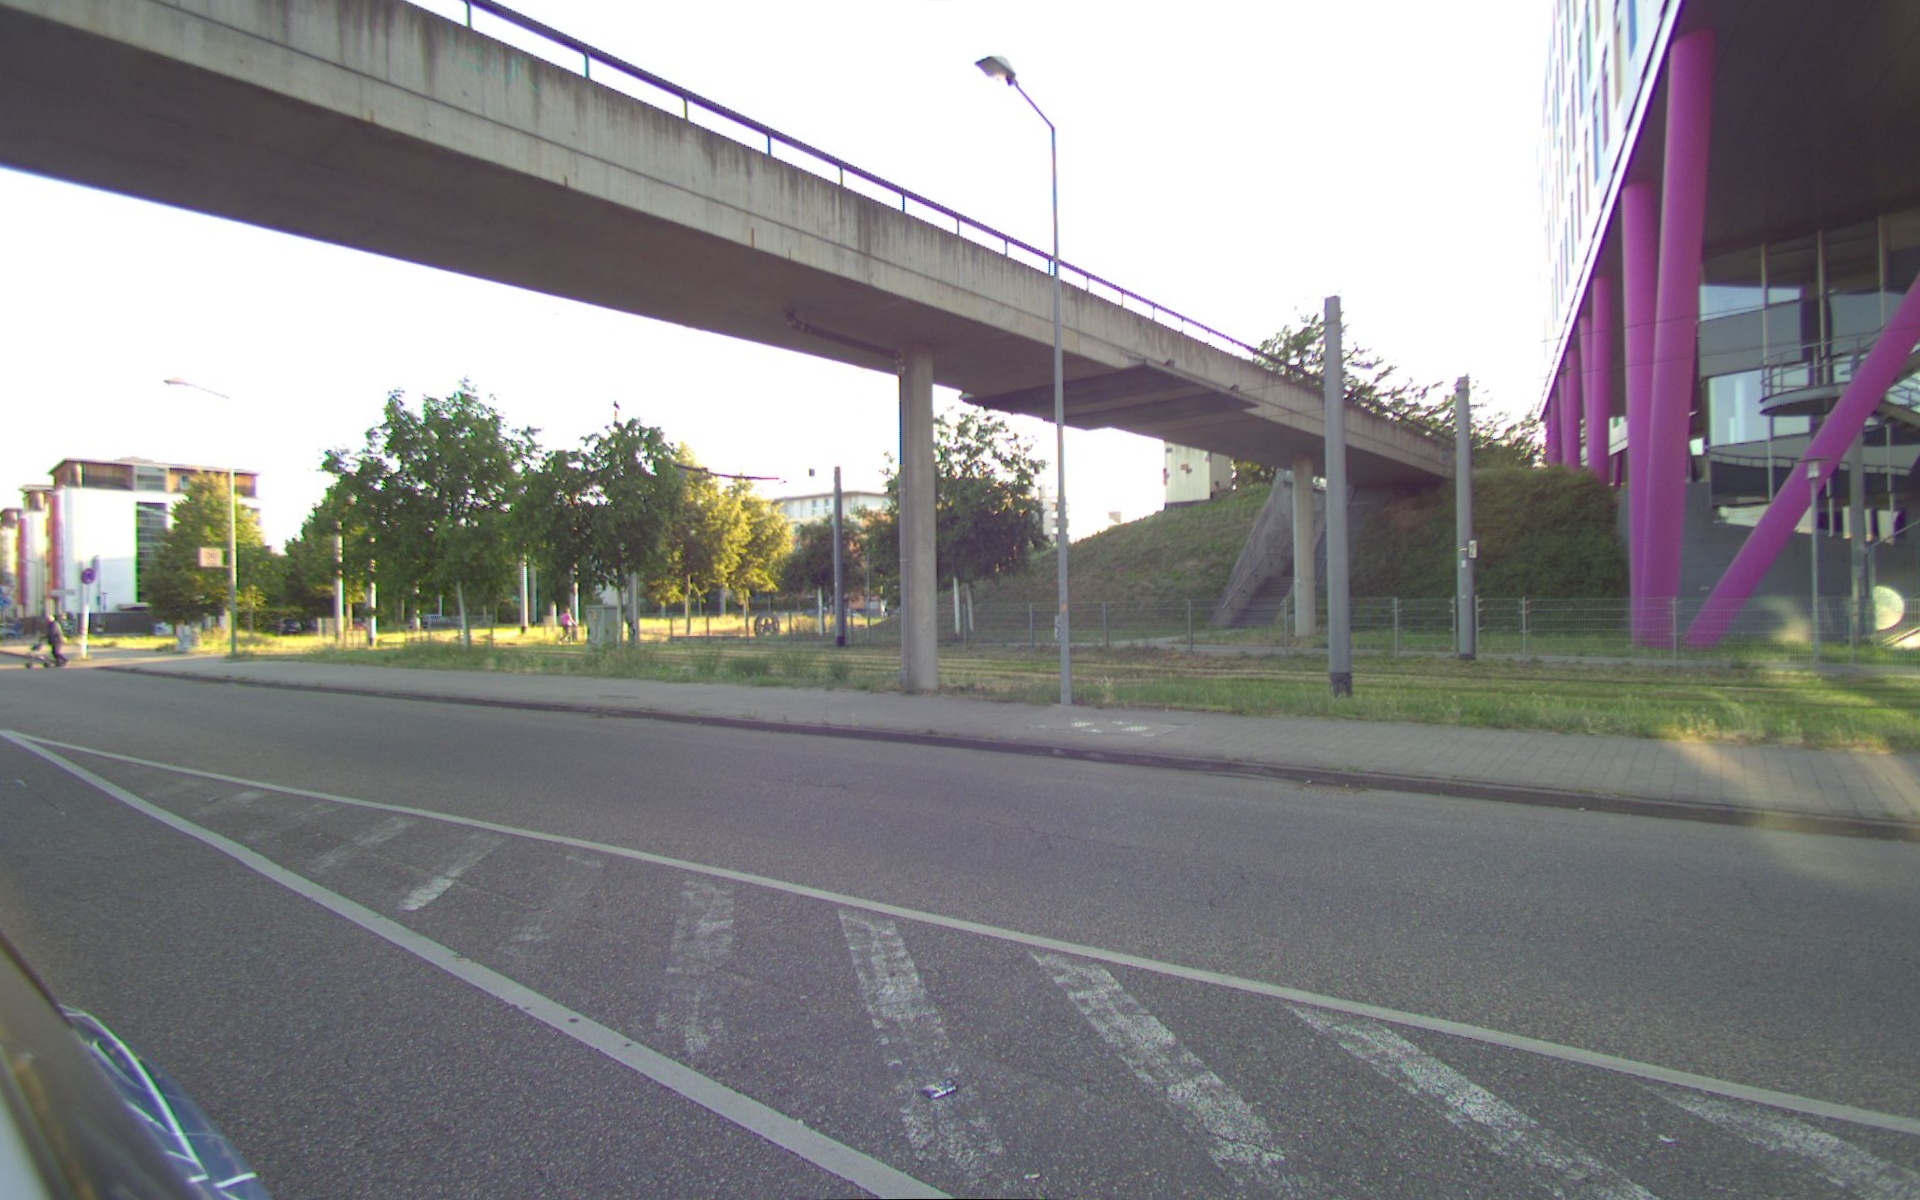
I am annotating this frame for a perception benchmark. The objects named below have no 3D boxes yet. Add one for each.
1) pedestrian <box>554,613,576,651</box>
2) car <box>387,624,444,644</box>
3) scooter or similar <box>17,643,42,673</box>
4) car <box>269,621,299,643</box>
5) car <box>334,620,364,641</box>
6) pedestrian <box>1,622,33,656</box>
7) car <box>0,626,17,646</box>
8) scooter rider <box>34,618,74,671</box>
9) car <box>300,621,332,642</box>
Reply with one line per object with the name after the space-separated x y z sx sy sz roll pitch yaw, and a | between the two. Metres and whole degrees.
-17.161 1.371 43.949 0.767 1.623 0.417 -1 -1 -38 | pedestrian
-45.883 2.877 85.329 3.935 1.575 2.004 -1 -1 -37 | car
-28.447 1.766 30.947 0.545 0.902 0.723 1 -1 -44 | scooter or similar
-57.204 2.696 85.581 1.842 1.734 3.853 -1 -1 -38 | car
-53.646 2.644 88.845 1.842 1.734 3.853 -1 -1 -38 | car
-58.165 2.399 62.434 1.072 2.029 1.143 -1 0 -21 | pedestrian
-80.833 3.034 83.473 1.839 1.571 4.330 -1 0 42 | car
-28.056 1.378 31.349 0.885 1.589 0.712 0 -1 -45 | scooter rider
-55.445 2.667 87.121 1.843 1.734 3.851 -1 -1 -40 | car
